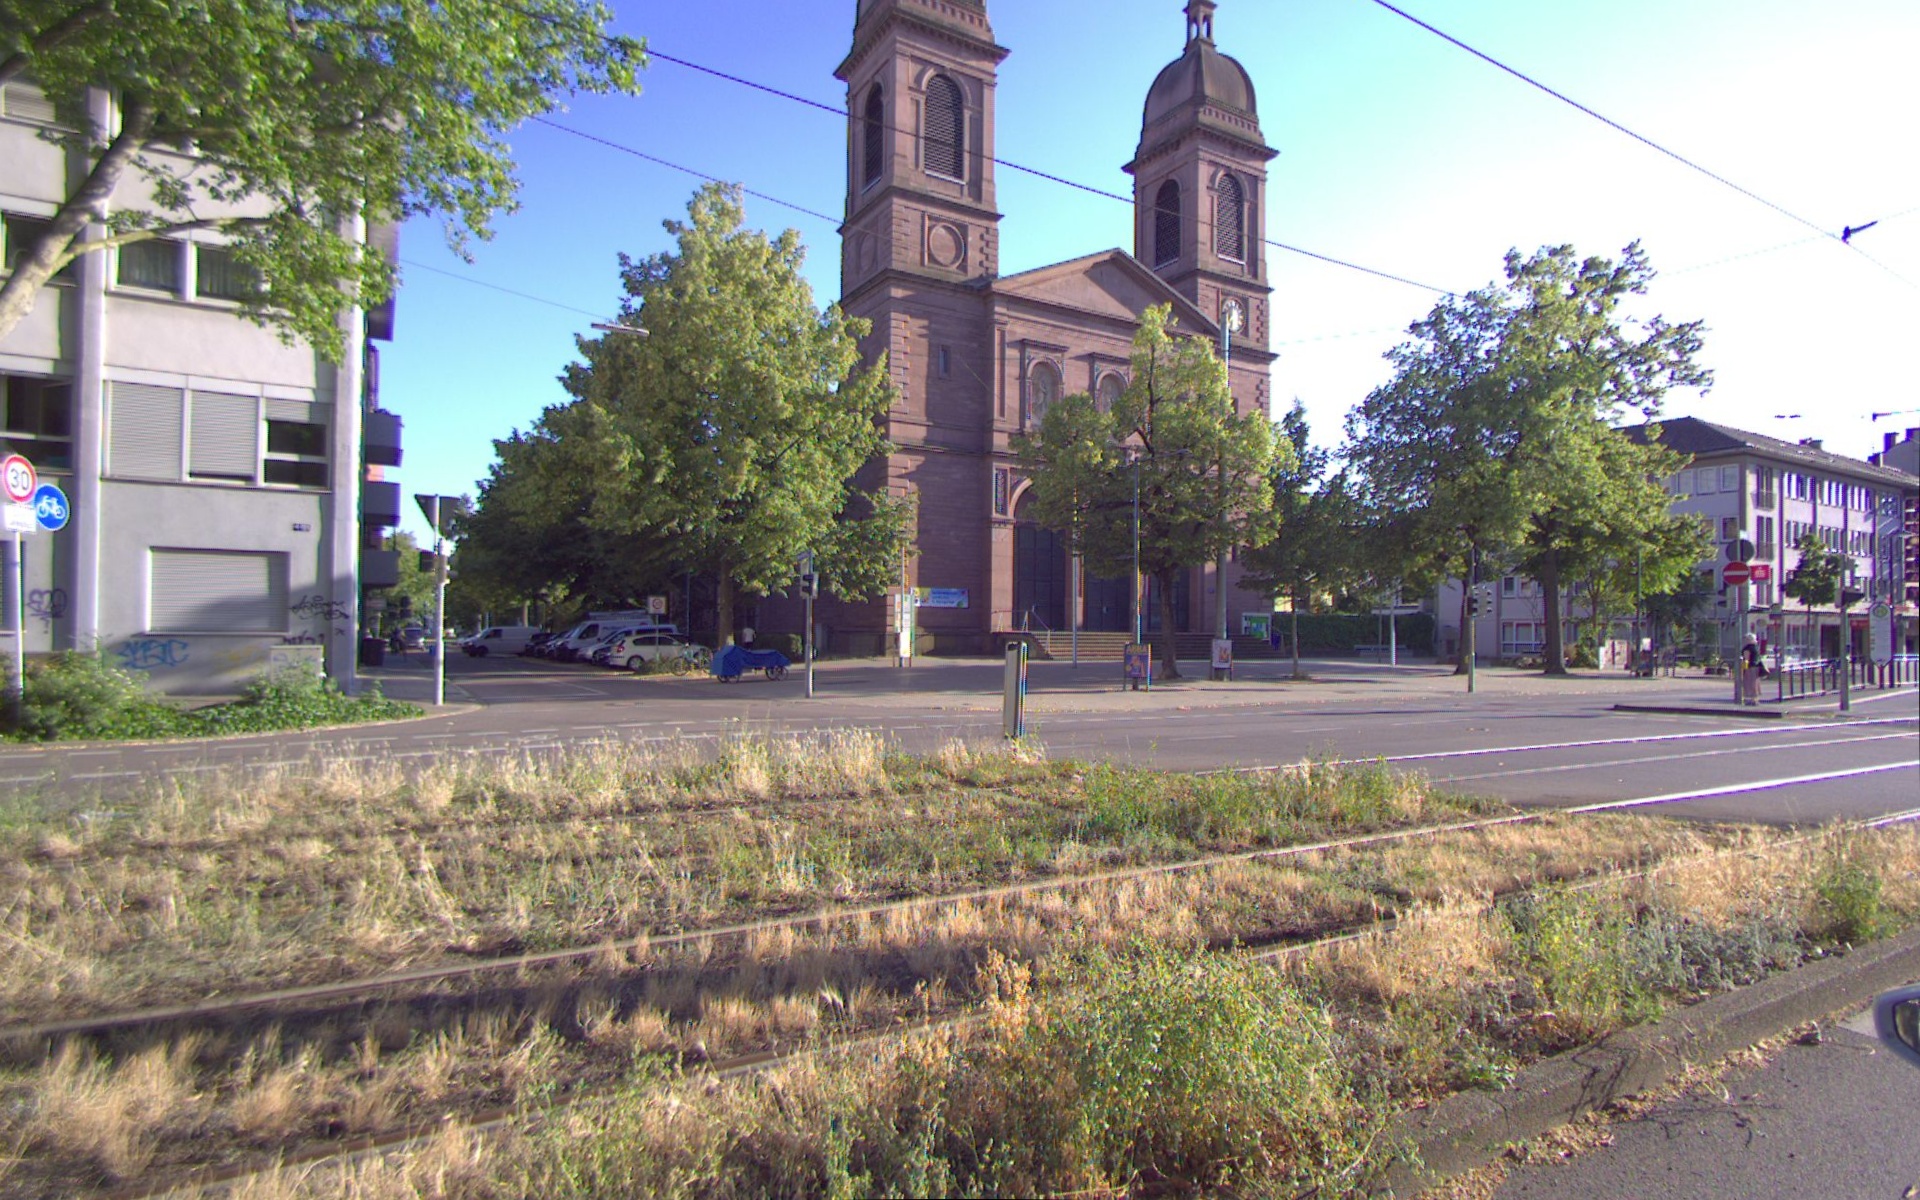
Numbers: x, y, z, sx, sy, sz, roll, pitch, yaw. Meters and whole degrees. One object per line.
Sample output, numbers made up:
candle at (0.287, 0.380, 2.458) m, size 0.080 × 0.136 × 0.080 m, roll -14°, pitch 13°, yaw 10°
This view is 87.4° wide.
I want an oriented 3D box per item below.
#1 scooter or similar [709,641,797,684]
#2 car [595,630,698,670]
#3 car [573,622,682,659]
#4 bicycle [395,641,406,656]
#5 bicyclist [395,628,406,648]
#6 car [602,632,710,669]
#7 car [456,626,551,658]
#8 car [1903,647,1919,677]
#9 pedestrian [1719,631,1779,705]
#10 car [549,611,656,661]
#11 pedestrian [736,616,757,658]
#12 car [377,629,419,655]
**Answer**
scooter or similar at (-6.292, 1.884, 30.567) m, size 2.419 × 1.141 × 1.088 m, roll -1°, pitch 0°, yaw -30°
car at (-13.678, 2.161, 43.845) m, size 3.953 × 1.639 × 1.876 m, roll 2°, pitch -2°, yaw -30°
car at (-15.879, 1.938, 48.032) m, size 4.655 × 1.684 × 1.984 m, roll 2°, pitch -2°, yaw -30°
bicycle at (-37.782, 3.253, 67.809) m, size 0.625 × 0.993 × 1.974 m, roll 1°, pitch -2°, yaw -29°
bicyclist at (-37.623, 2.573, 67.546) m, size 0.625 × 1.348 × 0.962 m, roll 1°, pitch -2°, yaw -29°
car at (-12.544, 2.063, 41.491) m, size 3.953 × 1.416 × 1.802 m, roll 1°, pitch -1°, yaw -30°
car at (-30.069, 2.750, 66.276) m, size 1.973 × 2.040 × 5.392 m, roll -1°, pitch -2°, yaw 44°
car at (56.801, 3.580, 57.720) m, size 3.440 × 1.702 × 1.772 m, roll 0°, pitch -1°, yaw 5°
pedestrian at (19.524, 1.658, 24.868) m, size 0.822 × 1.783 × 0.915 m, roll 2°, pitch -2°, yaw -29°
car at (-18.773, 1.908, 52.811) m, size 5.054 × 2.551 × 1.984 m, roll 2°, pitch -2°, yaw -30°
pedestrian at (-9.300, 1.609, 43.706) m, size 0.684 × 1.789 × 0.733 m, roll 1°, pitch -1°, yaw -31°
car at (-47.503, 3.535, 84.805) m, size 1.985 × 2.040 × 5.360 m, roll 2°, pitch -2°, yaw -41°
